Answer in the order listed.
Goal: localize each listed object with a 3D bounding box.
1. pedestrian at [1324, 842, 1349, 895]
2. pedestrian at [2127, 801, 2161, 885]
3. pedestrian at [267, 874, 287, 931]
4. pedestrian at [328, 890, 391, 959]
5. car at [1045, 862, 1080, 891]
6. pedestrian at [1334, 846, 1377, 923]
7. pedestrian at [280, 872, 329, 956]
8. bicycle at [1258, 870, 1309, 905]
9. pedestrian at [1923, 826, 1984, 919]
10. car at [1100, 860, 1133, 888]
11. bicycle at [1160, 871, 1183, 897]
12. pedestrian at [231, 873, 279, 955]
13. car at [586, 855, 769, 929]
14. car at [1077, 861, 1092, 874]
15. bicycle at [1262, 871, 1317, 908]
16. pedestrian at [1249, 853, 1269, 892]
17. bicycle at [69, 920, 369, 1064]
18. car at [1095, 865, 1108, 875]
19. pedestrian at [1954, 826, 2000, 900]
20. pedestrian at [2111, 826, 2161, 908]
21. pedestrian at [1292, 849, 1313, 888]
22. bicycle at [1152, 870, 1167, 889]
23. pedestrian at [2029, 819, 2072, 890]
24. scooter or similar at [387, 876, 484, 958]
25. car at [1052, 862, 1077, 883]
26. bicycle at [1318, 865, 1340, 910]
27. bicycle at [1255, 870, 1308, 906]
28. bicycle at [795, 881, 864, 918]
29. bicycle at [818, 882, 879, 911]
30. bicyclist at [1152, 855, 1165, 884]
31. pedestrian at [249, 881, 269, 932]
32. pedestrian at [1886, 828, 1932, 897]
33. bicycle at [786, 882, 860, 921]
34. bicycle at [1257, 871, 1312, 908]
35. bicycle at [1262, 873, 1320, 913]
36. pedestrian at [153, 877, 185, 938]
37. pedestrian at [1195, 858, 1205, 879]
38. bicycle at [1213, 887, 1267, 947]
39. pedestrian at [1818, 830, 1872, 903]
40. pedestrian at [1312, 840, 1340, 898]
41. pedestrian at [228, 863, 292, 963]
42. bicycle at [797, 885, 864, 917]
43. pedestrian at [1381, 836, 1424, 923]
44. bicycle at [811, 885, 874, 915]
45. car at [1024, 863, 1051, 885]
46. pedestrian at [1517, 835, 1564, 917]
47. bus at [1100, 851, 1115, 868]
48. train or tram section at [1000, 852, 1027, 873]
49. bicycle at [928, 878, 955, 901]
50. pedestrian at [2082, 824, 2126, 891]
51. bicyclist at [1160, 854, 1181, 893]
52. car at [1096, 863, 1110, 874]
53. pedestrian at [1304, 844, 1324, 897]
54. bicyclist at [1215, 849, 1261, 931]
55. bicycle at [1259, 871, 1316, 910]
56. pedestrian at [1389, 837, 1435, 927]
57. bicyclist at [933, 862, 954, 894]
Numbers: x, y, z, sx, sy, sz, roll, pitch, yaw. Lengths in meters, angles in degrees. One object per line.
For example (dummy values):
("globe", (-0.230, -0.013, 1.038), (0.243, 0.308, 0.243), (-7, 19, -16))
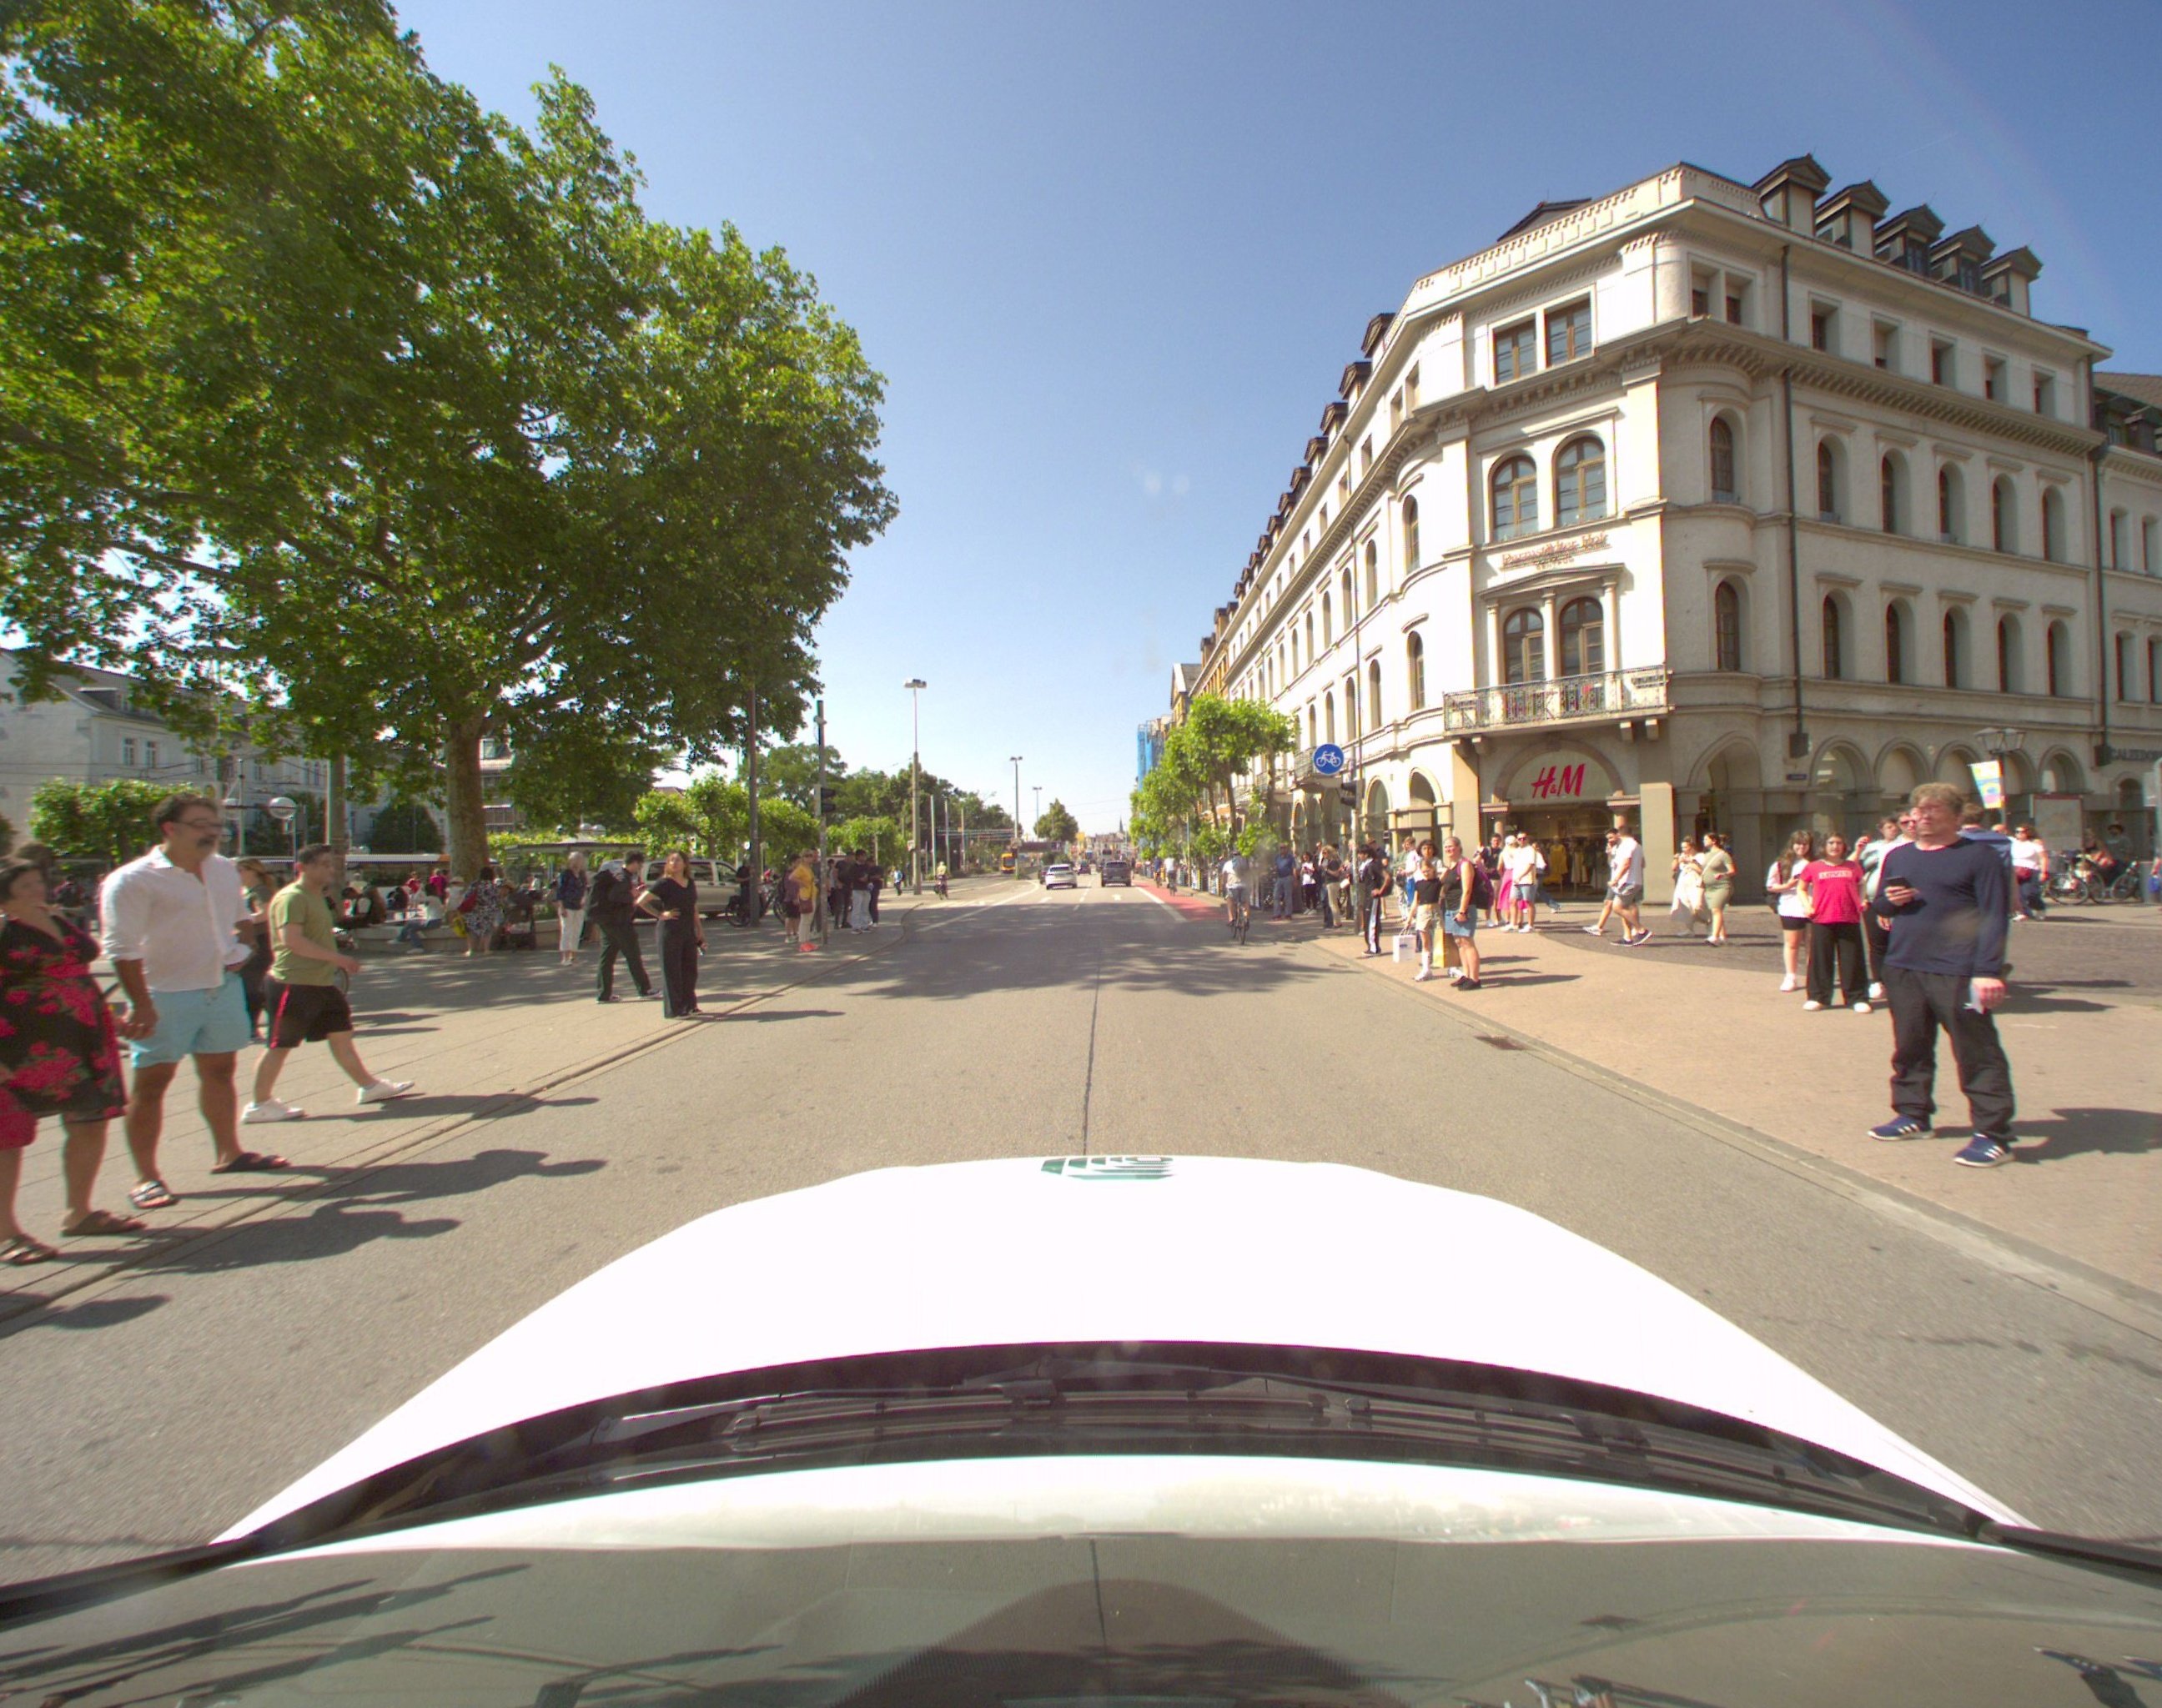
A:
("pedestrian", (8.752, 0.492, 27.905), (0.626, 1.792, 0.612), (-1, -1, 1))
("pedestrian", (24.336, -0.245, 18.493), (0.660, 1.869, 0.563), (0, 0, -24))
("pedestrian", (-25.187, 1.518, 25.513), (0.410, 1.749, 0.385), (-2, -1, 40))
("pedestrian", (-14.212, 1.379, 16.051), (0.627, 1.293, 0.735), (-2, -1, 22))
("car", (-1.094, 1.324, 49.043), (1.839, 1.560, 4.002), (-2, 0, 2))
("pedestrian", (6.249, 0.682, 18.536), (0.613, 1.705, 0.672), (1, -2, -27))
("pedestrian", (-15.764, 1.213, 16.534), (0.508, 1.657, 0.528), (-4, -2, 21))
("bicycle", (6.055, 1.003, 24.367), (1.415, 0.980, 0.401), (-3, 0, 2))
("pedestrian", (16.635, 0.339, 15.529), (0.543, 1.716, 0.671), (0, 0, -29))
("car", (2.134, 1.188, 49.418), (1.839, 1.559, 4.000), (-1, 0, 0))
("bicycle", (3.828, 1.249, 34.592), (0.771, 1.006, 2.330), (-2, 0, 2))
("pedestrian", (-16.693, 1.199, 16.465), (0.494, 1.603, 0.501), (-4, -2, 21))
("car", (-11.760, 1.038, 24.137), (1.843, 1.955, 4.786), (-2, -1, 22))
("car", (0.422, 1.656, 102.487), (1.839, 1.560, 4.000), (-1, 0, 1))
("bicycle", (5.873, 0.996, 22.987), (1.415, 0.980, 0.445), (-3, 0, 2))
("pedestrian", (7.694, 0.797, 35.214), (0.673, 1.665, 0.612), (-1, -1, 0))
("bicycle", (-7.951, 1.211, 7.665), (0.486, 1.029, 1.941), (-2, -1, 14))
("car", (3.112, 2.425, 124.908), (1.839, 1.413, 4.000), (-1, 0, 1))
("pedestrian", (21.591, 0.206, 19.629), (0.660, 1.736, 0.563), (0, 0, -24))
("pedestrian", (21.584, 0.251, 16.494), (0.660, 1.617, 0.754), (0, 0, -24))
("pedestrian", (9.262, 0.609, 34.130), (0.673, 1.572, 0.612), (-1, -1, 0))
("bicycle", (4.381, 1.418, 45.526), (0.645, 0.998, 2.031), (-1, 0, 1))
("pedestrian", (25.716, 0.013, 21.602), (0.660, 1.869, 0.563), (0, 0, -24))
("scooter or similar", (-12.084, 1.149, 15.250), (1.264, 1.421, 1.045), (-2, -1, 32))
("car", (-1.256, 1.410, 63.981), (1.839, 1.560, 4.000), (-1, -1, 1))
("bicycle", (6.691, 0.883, 21.922), (0.396, 1.114, 1.433), (-3, 0, 22))
("bicycle", (5.887, 1.005, 23.935), (1.415, 0.980, 0.445), (-3, 0, 2))
("bicycle", (-8.268, 1.484, 26.861), (2.082, 1.089, 0.682), (-2, -1, -10))
("bicycle", (-8.621, 1.579, 30.285), (2.082, 0.980, 0.682), (-2, -1, -10))
("bicyclist", (4.348, 0.866, 45.624), (0.645, 1.551, 0.817), (-1, -1, 1))
("pedestrian", (-25.454, 1.614, 25.210), (0.410, 1.574, 0.385), (-2, -1, 40))
("pedestrian", (19.564, 0.189, 19.246), (0.660, 1.600, 0.563), (0, 0, -24))
("bicycle", (-8.069, 1.473, 25.530), (2.082, 1.089, 0.682), (-2, -1, -10))
("bicycle", (5.851, 1.011, 23.443), (1.415, 0.980, 0.445), (-3, 0, 2))
("bicycle", (5.591, 1.029, 21.707), (1.415, 0.980, 0.445), (-3, 0, 2))
("pedestrian", (-26.826, 1.563, 23.951), (0.565, 1.749, 0.610), (-2, -1, 40))
("pedestrian", (9.030, 1.096, 61.798), (0.673, 1.572, 0.612), (-1, -1, 0))
("bicycle", (2.941, 1.139, 15.234), (0.628, 0.980, 2.089), (0, -1, 1))
("pedestrian", (17.933, 0.282, 19.119), (0.612, 1.679, 0.673), (-1, -1, -21))
("pedestrian", (7.683, 0.477, 25.577), (0.673, 1.792, 0.612), (-1, -1, 1))
("pedestrian", (-15.332, 1.088, 15.218), (0.627, 1.810, 0.618), (-4, -2, 21))
("bicycle", (-8.540, 1.588, 27.867), (2.082, 0.980, 0.682), (-2, -1, -10))
("pedestrian", (6.882, 0.535, 17.465), (0.608, 1.807, 0.677), (-1, -1, -1))
("bicycle", (-8.499, 1.631, 29.091), (2.082, 0.980, 0.682), (-2, -1, -10))
("car", (-3.350, 1.532, 63.557), (1.839, 1.560, 4.000), (-1, -1, 1))
("pedestrian", (10.162, 0.475, 18.031), (0.608, 1.764, 0.677), (-1, -1, -1))
("bus", (5.658, 1.263, 176.794), (2.984, 3.594, 11.745), (-1, -1, 1))
("train or tram section", (-10.891, 1.341, 132.631), (2.600, 3.348, 11.017), (-1, 0, 5))
("bicycle", (-6.667, 1.688, 39.005), (0.673, 1.026, 1.972), (-1, -1, 8))
("pedestrian", (26.384, 0.087, 21.001), (0.660, 1.696, 0.563), (0, 0, -24))
("bicyclist", (3.811, 0.818, 34.577), (0.771, 1.635, 0.851), (-2, 0, 1))
("car", (3.106, 2.069, 114.489), (1.839, 1.413, 4.000), (-1, 0, 1))
("pedestrian", (7.975, 0.560, 27.884), (0.475, 1.792, 0.612), (-1, -1, 1))
("bicyclist", (2.938, 0.663, 15.330), (0.628, 1.481, 1.198), (0, -1, 1))
("bicycle", (5.708, 0.999, 22.528), (1.415, 0.980, 0.445), (-3, 0, 2))
("pedestrian", (6.798, 0.571, 16.745), (0.608, 1.807, 0.677), (-1, -1, -1))
("bicyclist", (-6.611, 1.162, 39.163), (0.735, 1.503, 1.054), (-1, -1, 6))
